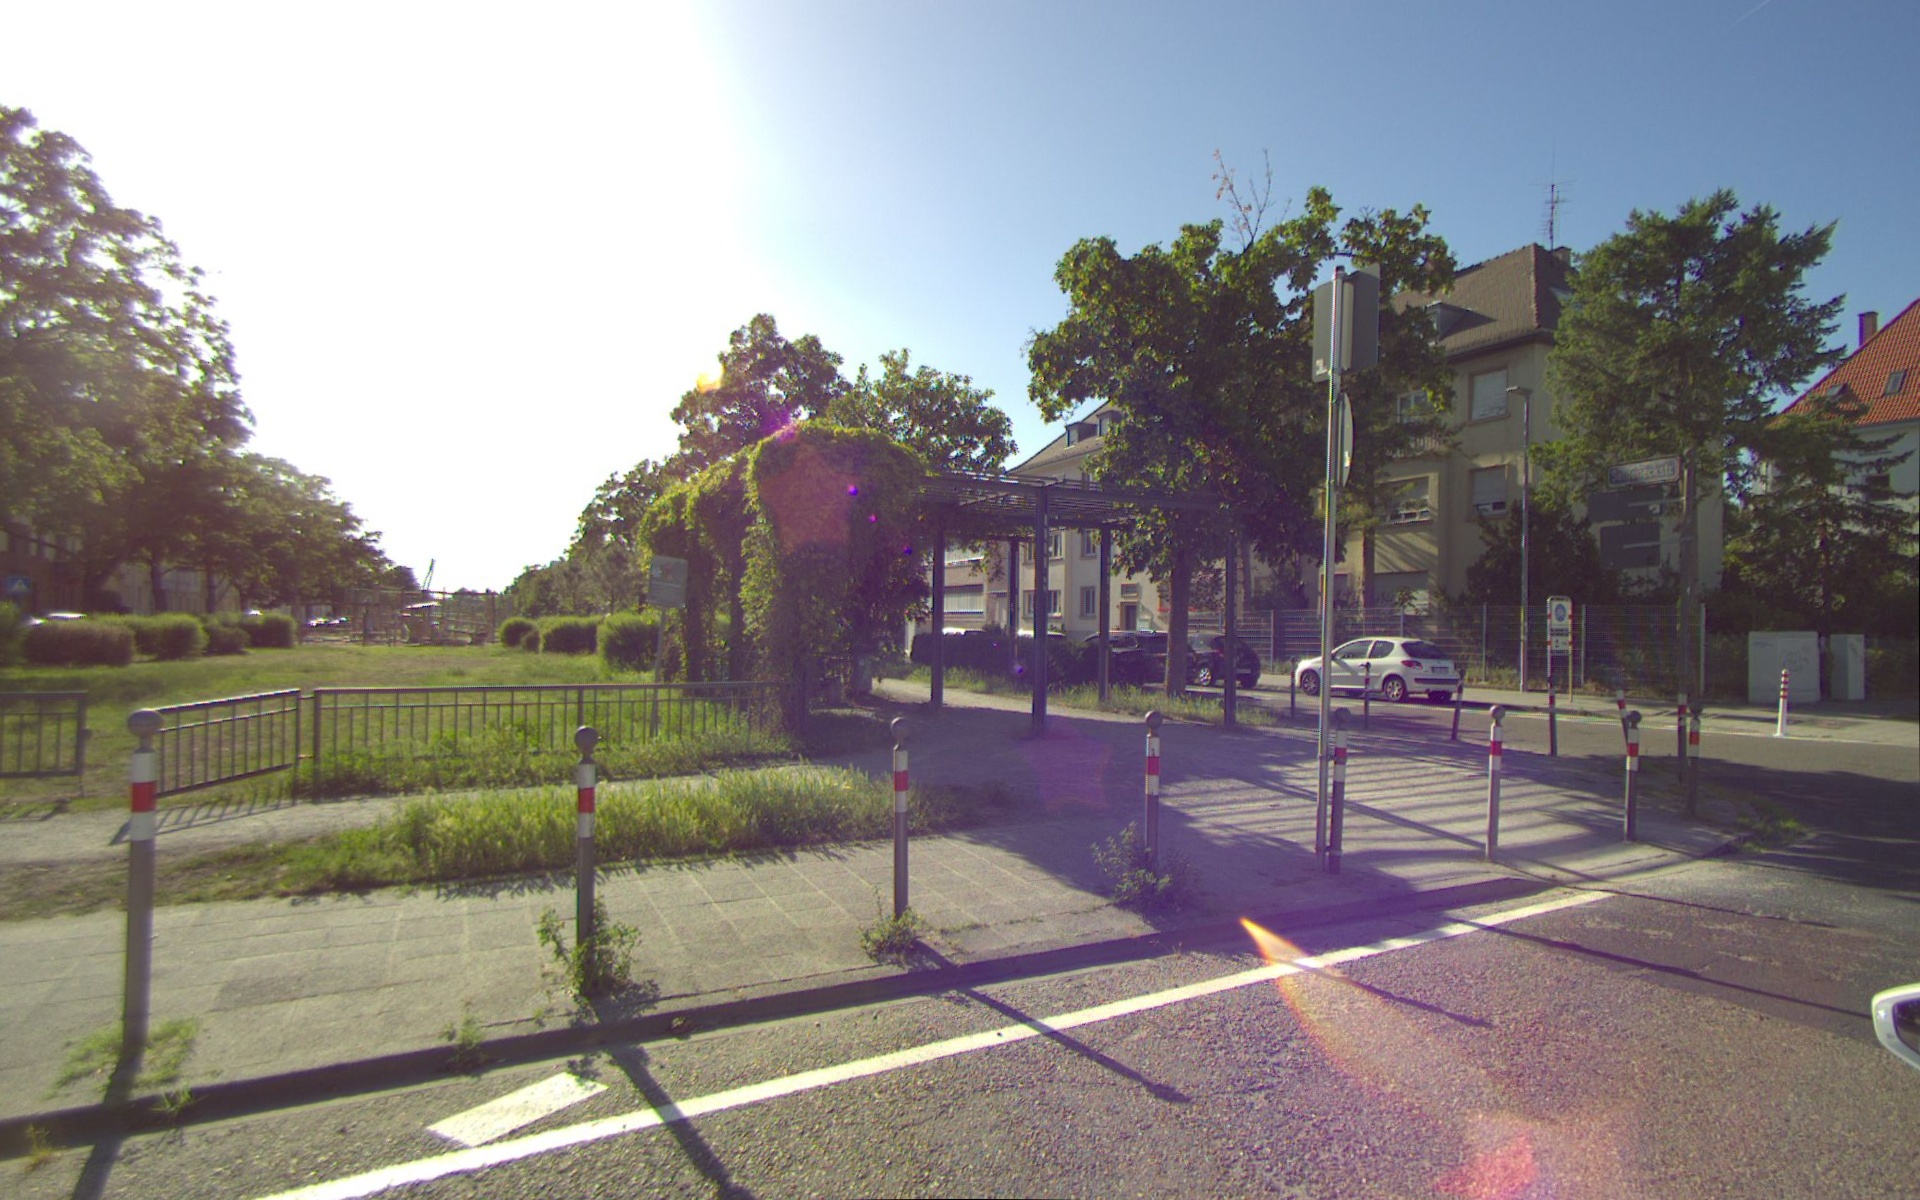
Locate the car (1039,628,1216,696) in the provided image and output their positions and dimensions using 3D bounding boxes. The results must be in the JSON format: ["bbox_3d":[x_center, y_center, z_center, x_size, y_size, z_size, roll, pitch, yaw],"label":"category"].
[{"bbox_3d":[4.141,1.517,25.675,1.976,1.545,4.720,1,-2,-29],"label":"car"}]

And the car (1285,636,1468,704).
[{"bbox_3d":[9.569,1.575,23.332,1.685,1.416,3.751,3,-2,-27],"label":"car"}]

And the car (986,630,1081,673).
[{"bbox_3d":[2.687,1.911,37.787,1.778,1.514,3.974,3,-2,-26],"label":"car"}]

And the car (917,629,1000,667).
[{"bbox_3d":[-0.121,2.026,43.248,1.781,1.514,3.967,3,-2,-31],"label":"car"}]

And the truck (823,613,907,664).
[{"bbox_3d":[-4.127,1.615,42.844,1.974,2.063,4.841,1,-2,-27],"label":"truck"}]

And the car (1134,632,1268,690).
[{"bbox_3d":[6.763,1.688,28.527,1.655,1.514,3.801,3,-2,-26],"label":"car"}]
